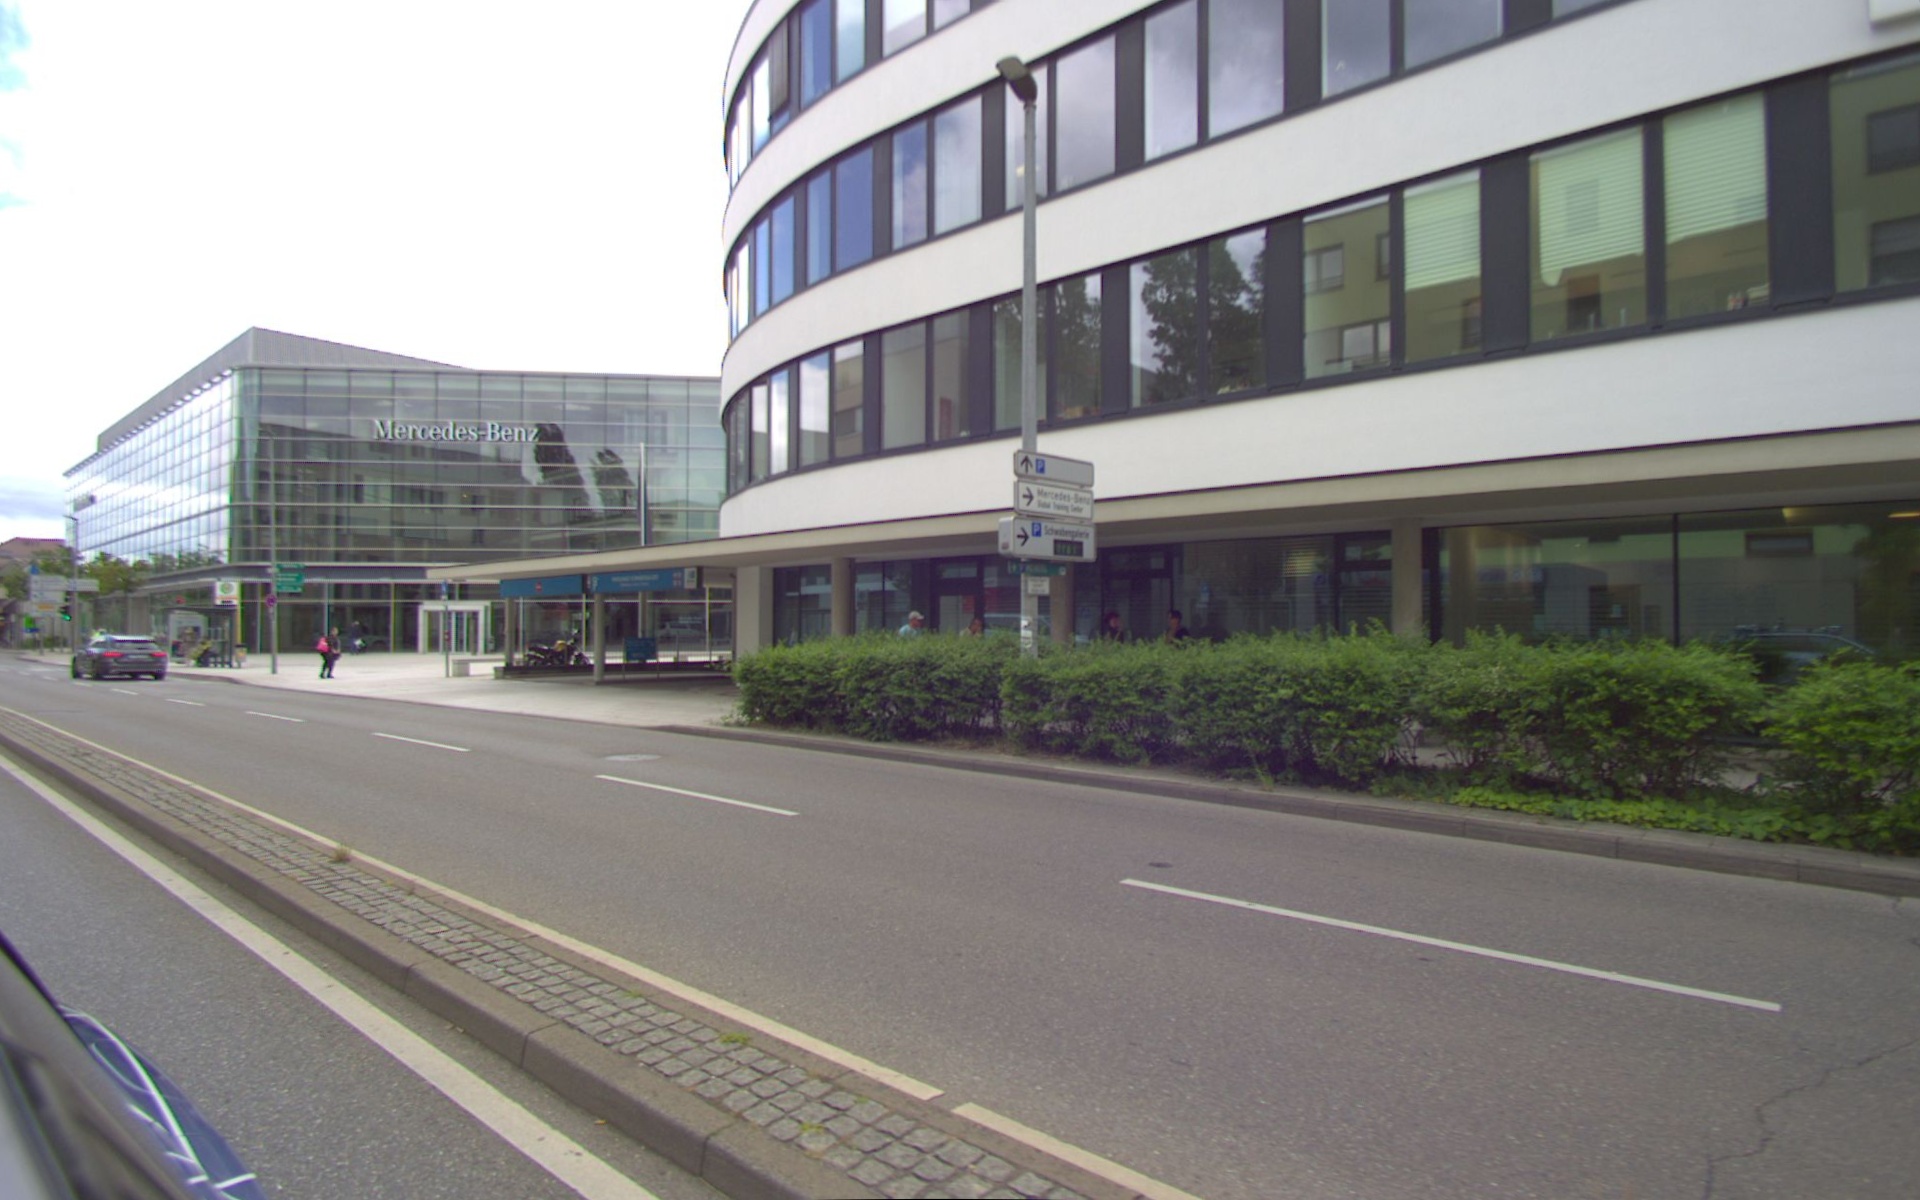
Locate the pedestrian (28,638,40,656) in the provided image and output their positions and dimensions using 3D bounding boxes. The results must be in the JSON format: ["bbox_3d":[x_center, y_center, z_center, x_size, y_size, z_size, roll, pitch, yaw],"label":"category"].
[{"bbox_3d":[-83.303,4.234,91.026,0.693,1.636,0.693,-3,-4,41],"label":"pedestrian"}]

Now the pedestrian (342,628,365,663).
[{"bbox_3d":[-34.461,2.595,57.530,0.740,1.960,0.902,-1,-2,2],"label":"pedestrian"}]

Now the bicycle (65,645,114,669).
[{"bbox_3d":[-48.411,3.152,56.308,2.000,1.215,0.748,-2,-1,-4],"label":"bicycle"}]

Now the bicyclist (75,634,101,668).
[{"bbox_3d":[-48.491,2.838,56.295,0.762,1.814,0.748,-2,-1,-5],"label":"bicyclist"}]

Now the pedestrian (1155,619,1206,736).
[{"bbox_3d":[3.350,1.165,15.413,0.497,1.743,0.617,1,-3,-18],"label":"pedestrian"}]

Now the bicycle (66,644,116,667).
[{"bbox_3d":[-46.485,2.957,54.168,1.973,1.139,0.640,-1,-1,-34],"label":"bicycle"}]

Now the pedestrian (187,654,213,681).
[{"bbox_3d":[-31.368,2.801,41.783,0.576,1.084,0.677,-2,-5,40],"label":"pedestrian"}]

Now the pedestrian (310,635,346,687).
[{"bbox_3d":[-19.616,1.878,31.410,0.820,1.579,0.814,0,-2,-44],"label":"pedestrian"}]

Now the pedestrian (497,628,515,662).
[{"bbox_3d":[-26.174,2.601,58.359,0.747,1.960,0.680,-2,-2,28],"label":"pedestrian"}]

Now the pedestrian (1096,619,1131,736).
[{"bbox_3d":[2.317,1.157,15.273,0.501,1.723,0.613,0,-3,11],"label":"pedestrian"}]

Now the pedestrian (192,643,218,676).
[{"bbox_3d":[-30.863,2.446,41.359,0.576,1.330,0.677,-2,-5,40],"label":"pedestrian"}]

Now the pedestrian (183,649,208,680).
[{"bbox_3d":[-31.850,2.675,42.149,0.576,1.263,0.677,-2,-4,40],"label":"pedestrian"}]

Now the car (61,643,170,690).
[{"bbox_3d":[-27.592,2.115,33.014,4.466,1.426,1.878,-2,-3,39],"label":"car"}]

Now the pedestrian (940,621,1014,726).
[{"bbox_3d":[0.273,1.169,16.386,0.931,1.625,0.722,-2,-2,43],"label":"pedestrian"}]

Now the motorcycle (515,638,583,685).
[{"bbox_3d":[-12.761,1.894,31.439,0.636,1.343,1.833,-2,-1,45],"label":"motorcycle"}]

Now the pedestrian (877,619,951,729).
[{"bbox_3d":[-0.738,1.158,16.232,0.931,1.686,0.722,-2,-2,43],"label":"pedestrian"}]

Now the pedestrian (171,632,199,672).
[{"bbox_3d":[-32.477,2.188,42.415,0.568,1.644,0.686,1,-3,0],"label":"pedestrian"}]

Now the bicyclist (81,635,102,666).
[{"bbox_3d":[-46.481,2.693,54.173,0.771,1.661,0.640,-1,-1,-34],"label":"bicyclist"}]
